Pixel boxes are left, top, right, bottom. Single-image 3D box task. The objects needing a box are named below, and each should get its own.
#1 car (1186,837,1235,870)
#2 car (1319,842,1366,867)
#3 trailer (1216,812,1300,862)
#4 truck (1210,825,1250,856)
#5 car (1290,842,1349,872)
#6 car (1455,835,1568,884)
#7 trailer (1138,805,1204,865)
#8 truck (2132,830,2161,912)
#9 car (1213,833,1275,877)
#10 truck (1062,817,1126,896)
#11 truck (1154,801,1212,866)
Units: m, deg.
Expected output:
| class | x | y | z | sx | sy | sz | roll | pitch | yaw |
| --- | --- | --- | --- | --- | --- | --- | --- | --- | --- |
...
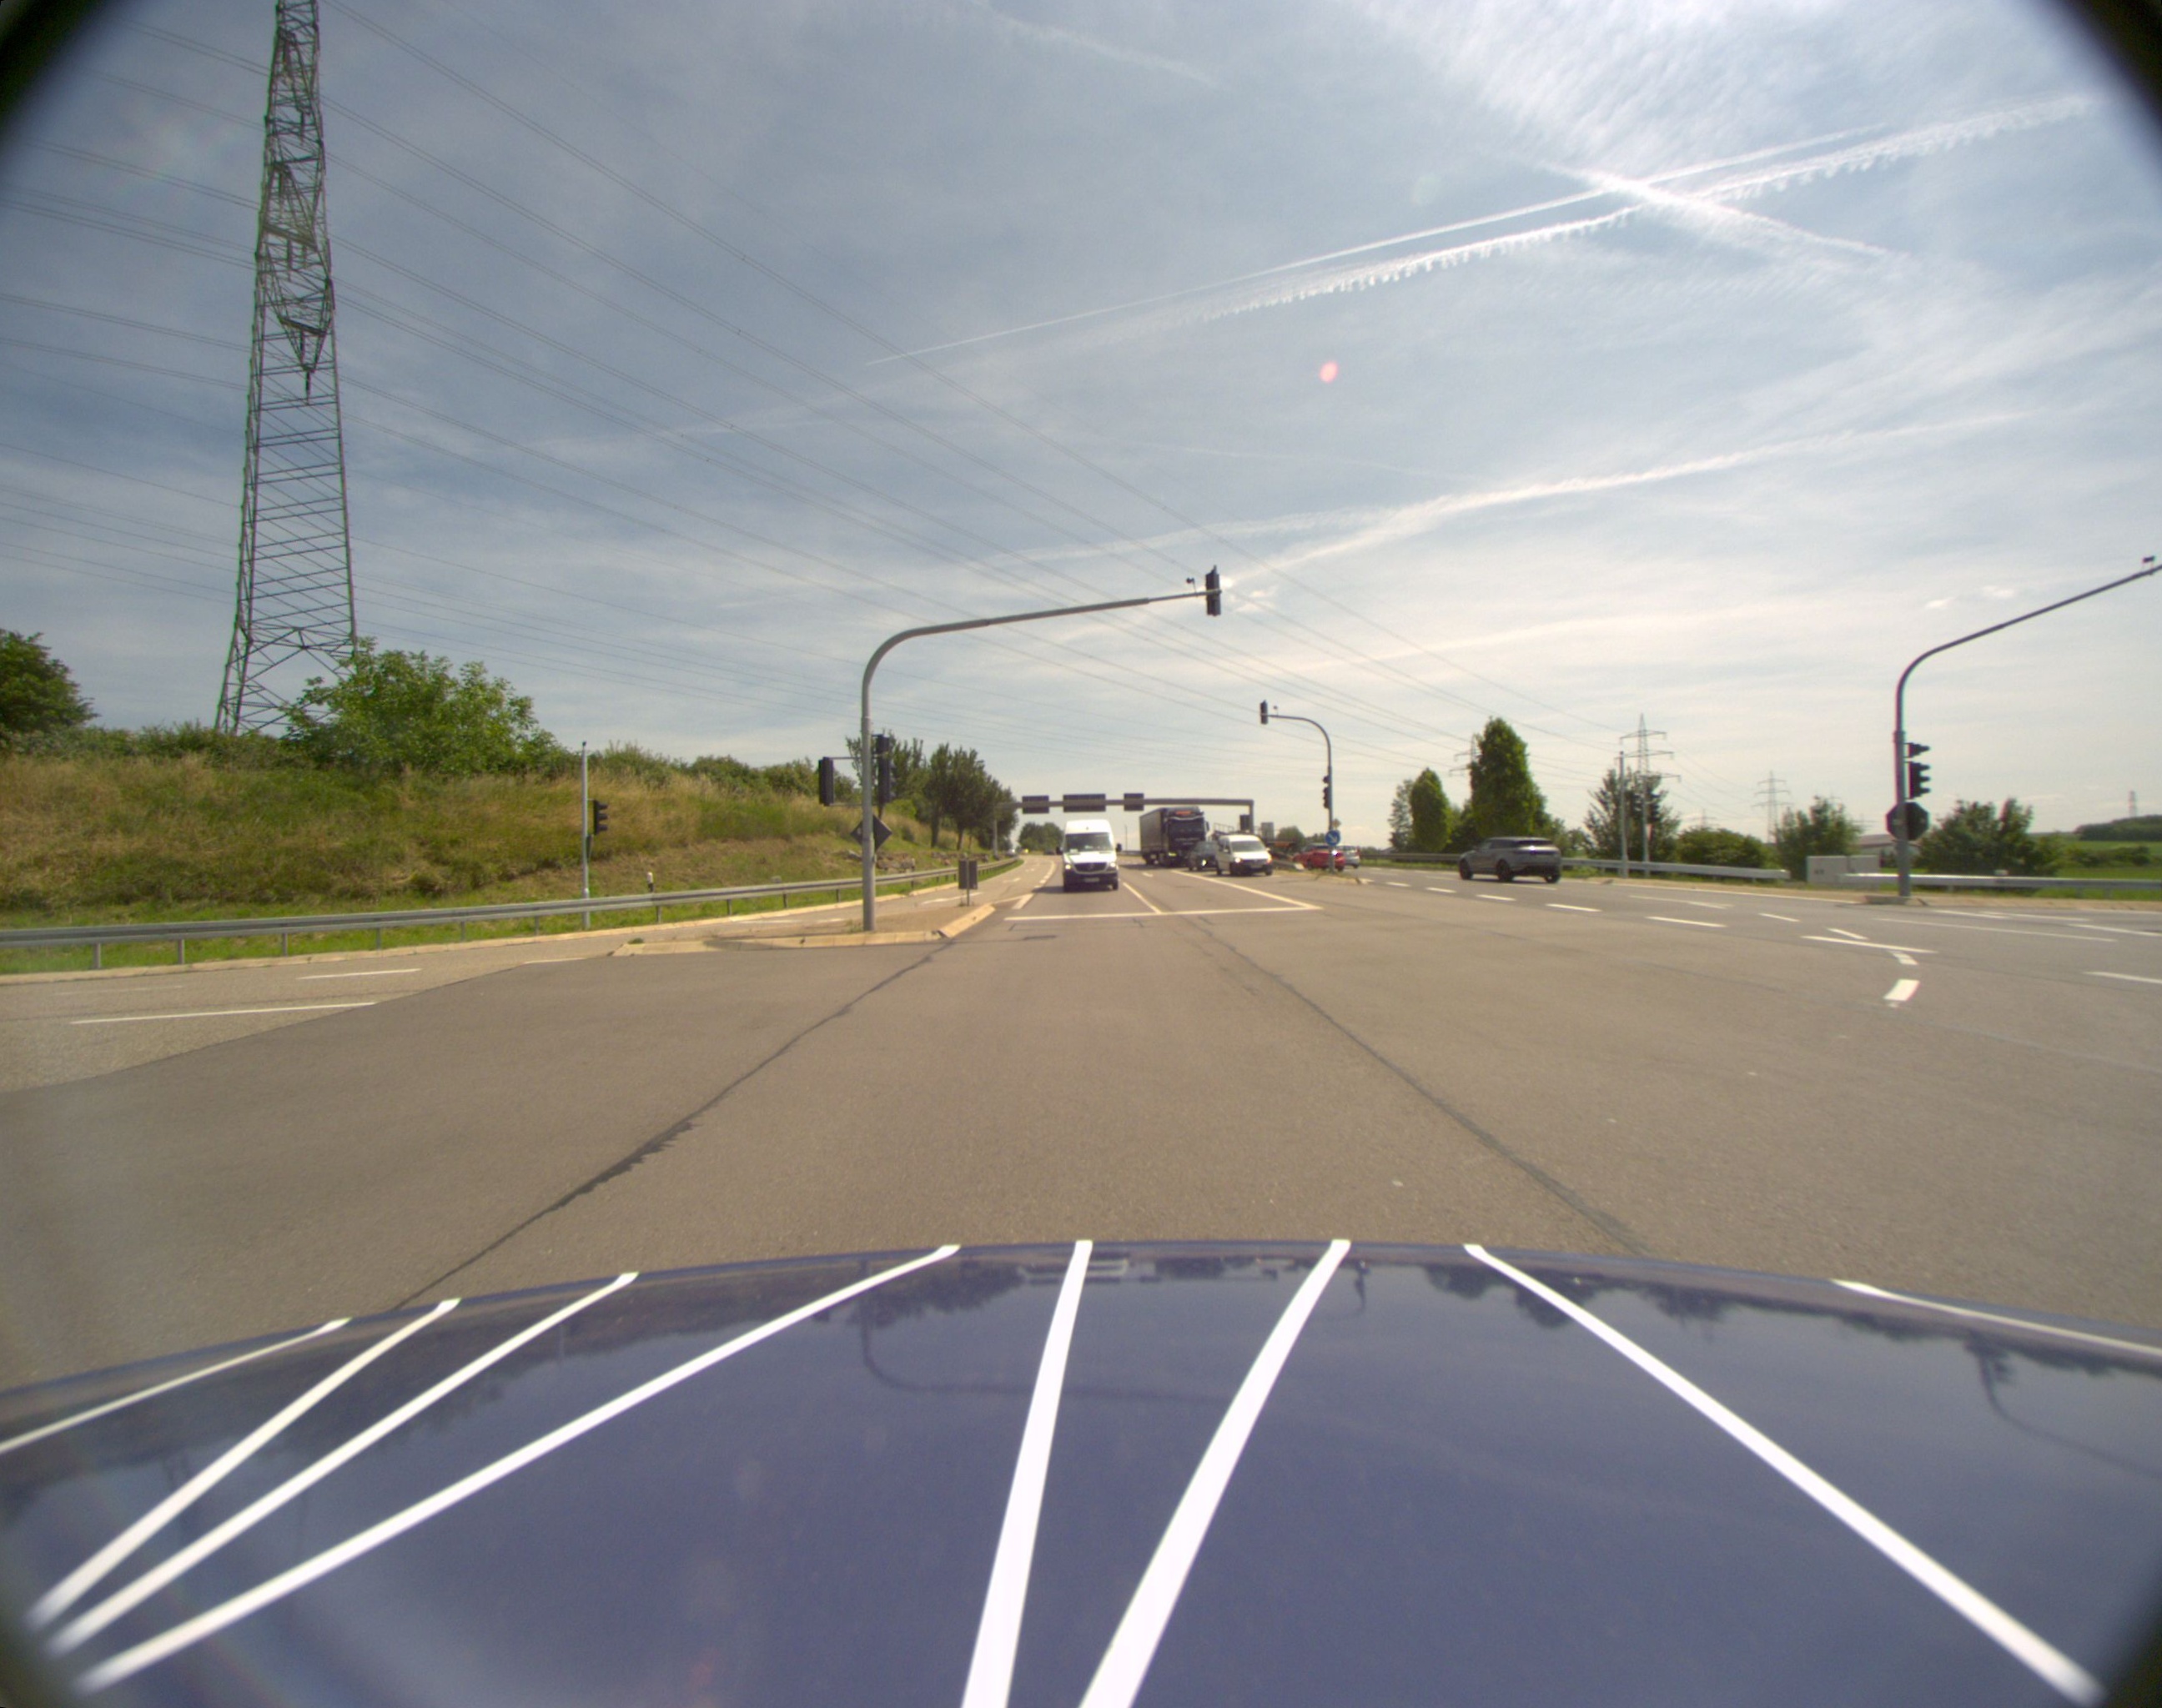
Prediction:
| class | x | y | z | sx | sy | sz | roll | pitch | yaw |
| --- | --- | --- | --- | --- | --- | --- | --- | --- | --- |
| car | 7.073 | -0.055 | 41.829 | 1.860 | 1.648 | 4.347 | -3 | 1 | 0 |
| car | 16.053 | -0.003 | 46.775 | 1.648 | 1.488 | 3.800 | 0 | 2 | 1 |
| trailer | 15.369 | -1.527 | 68.398 | 2.646 | 3.742 | 19.791 | -2 | 1 | -1 |
| truck | 15.248 | -1.400 | 78.150 | 2.806 | 2.996 | 5.988 | -1 | 2 | 0 |
| car | 12.349 | 0.123 | 39.600 | 1.648 | 1.488 | 4.064 | 0 | 1 | -2 |
| car | 15.534 | 0.135 | 27.711 | 1.648 | 1.614 | 4.326 | 0 | 2 | 0 |
| trailer | 6.493 | -1.363 | 57.245 | 2.790 | 3.891 | 13.782 | -3 | 1 | -1 |
| truck | 25.854 | 0.372 | 16.044 | 5.282 | 1.747 | 1.998 | 0 | 1 | -8 |
| car | 7.290 | -0.001 | 34.364 | 1.772 | 1.788 | 4.751 | -3 | 1 | 1 |
| truck | 0.377 | 0.030 | 27.498 | 1.999 | 2.518 | 5.103 | -2 | 1 | -1 |
| truck | 6.667 | -1.327 | 50.540 | 2.790 | 3.990 | 5.969 | -3 | 1 | -1 |
